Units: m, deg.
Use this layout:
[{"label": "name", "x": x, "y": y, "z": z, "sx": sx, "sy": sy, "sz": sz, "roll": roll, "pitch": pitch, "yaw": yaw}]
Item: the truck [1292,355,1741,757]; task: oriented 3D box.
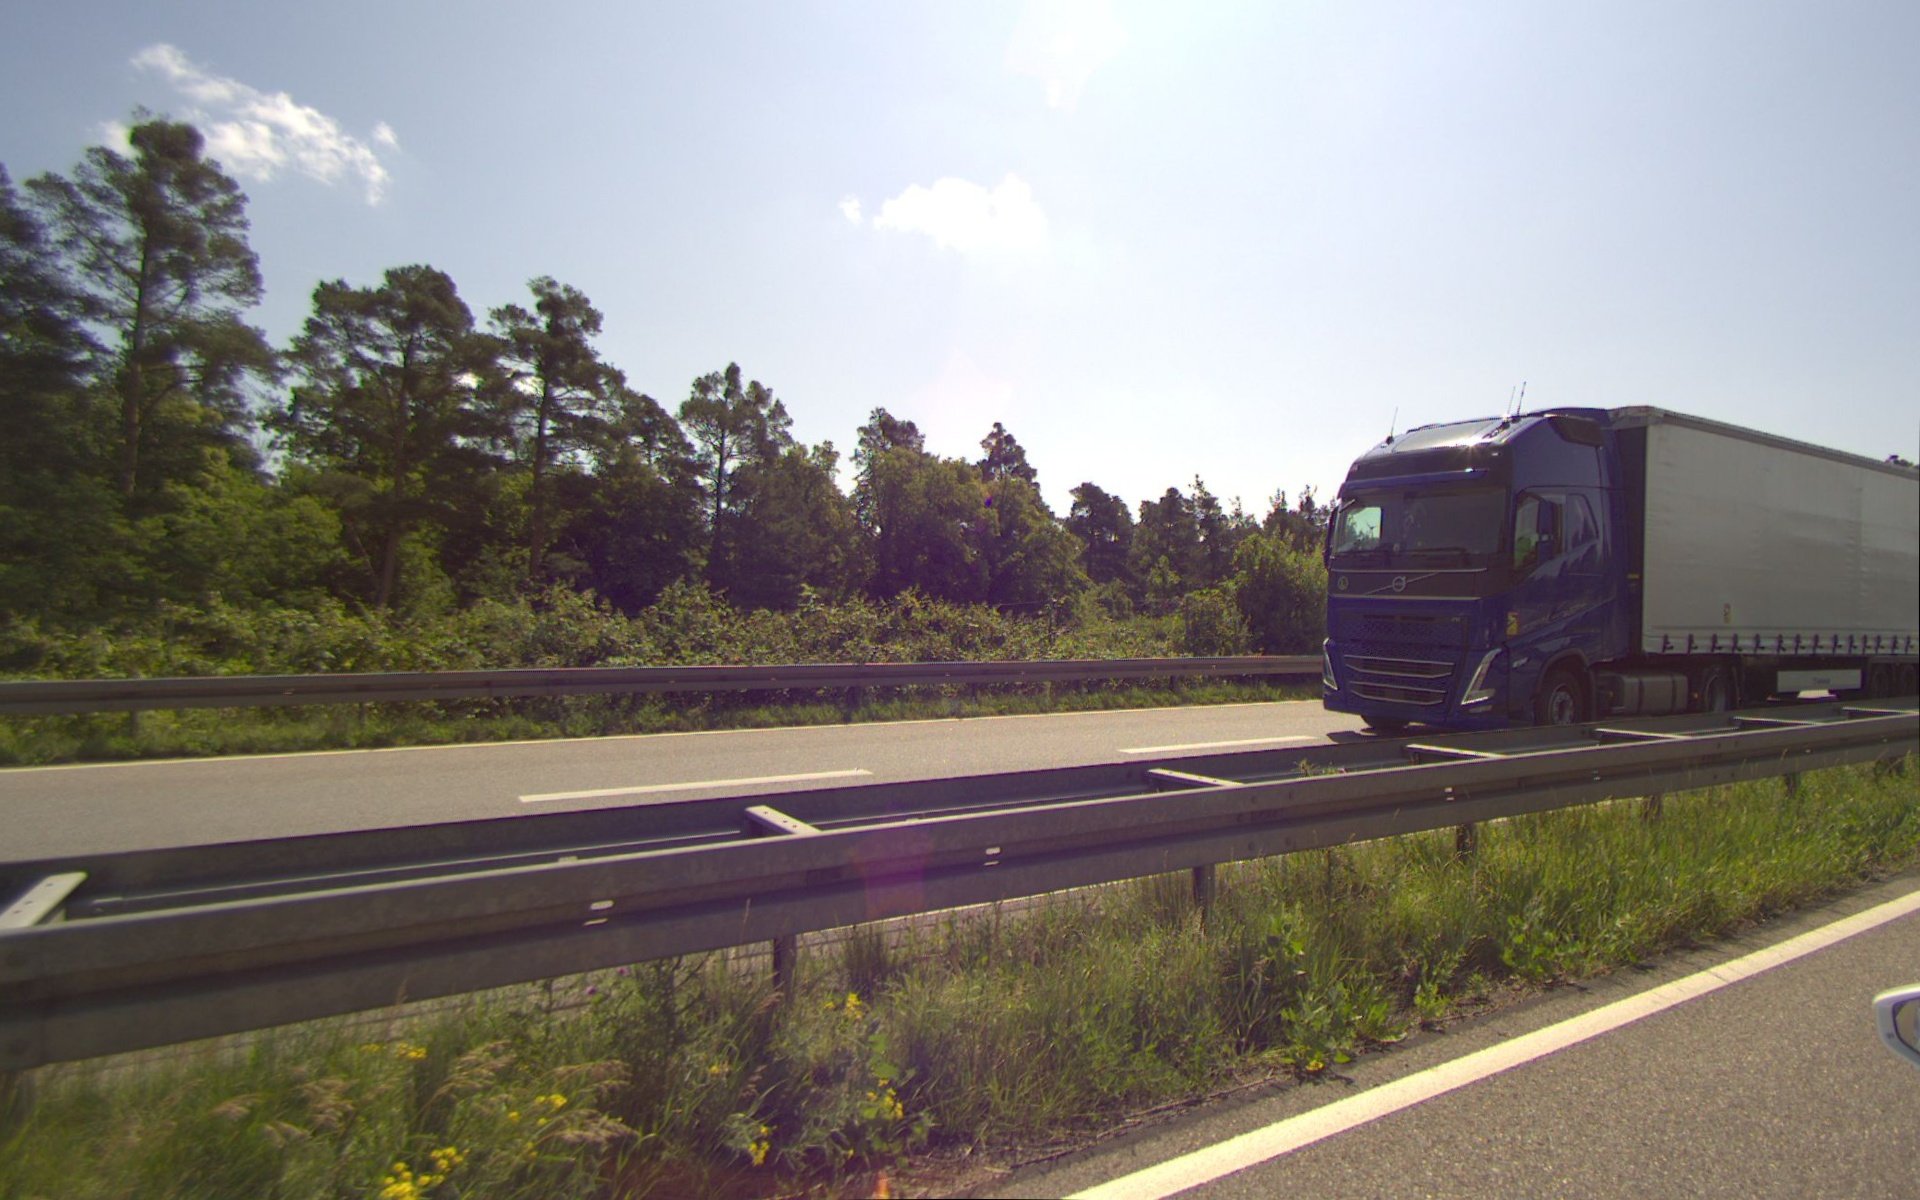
[{"label": "truck", "x": 7.365, "y": -0.411, "z": 13.200, "sx": 5.532, "sy": 4.243, "sz": 2.754, "roll": 1, "pitch": -1, "yaw": -31}]

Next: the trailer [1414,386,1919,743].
[{"label": "trailer", "x": 13.339, "y": -0.289, "z": 16.782, "sx": 14.413, "sy": 4.228, "sz": 2.732, "roll": 1, "pitch": -1, "yaw": -31}]
